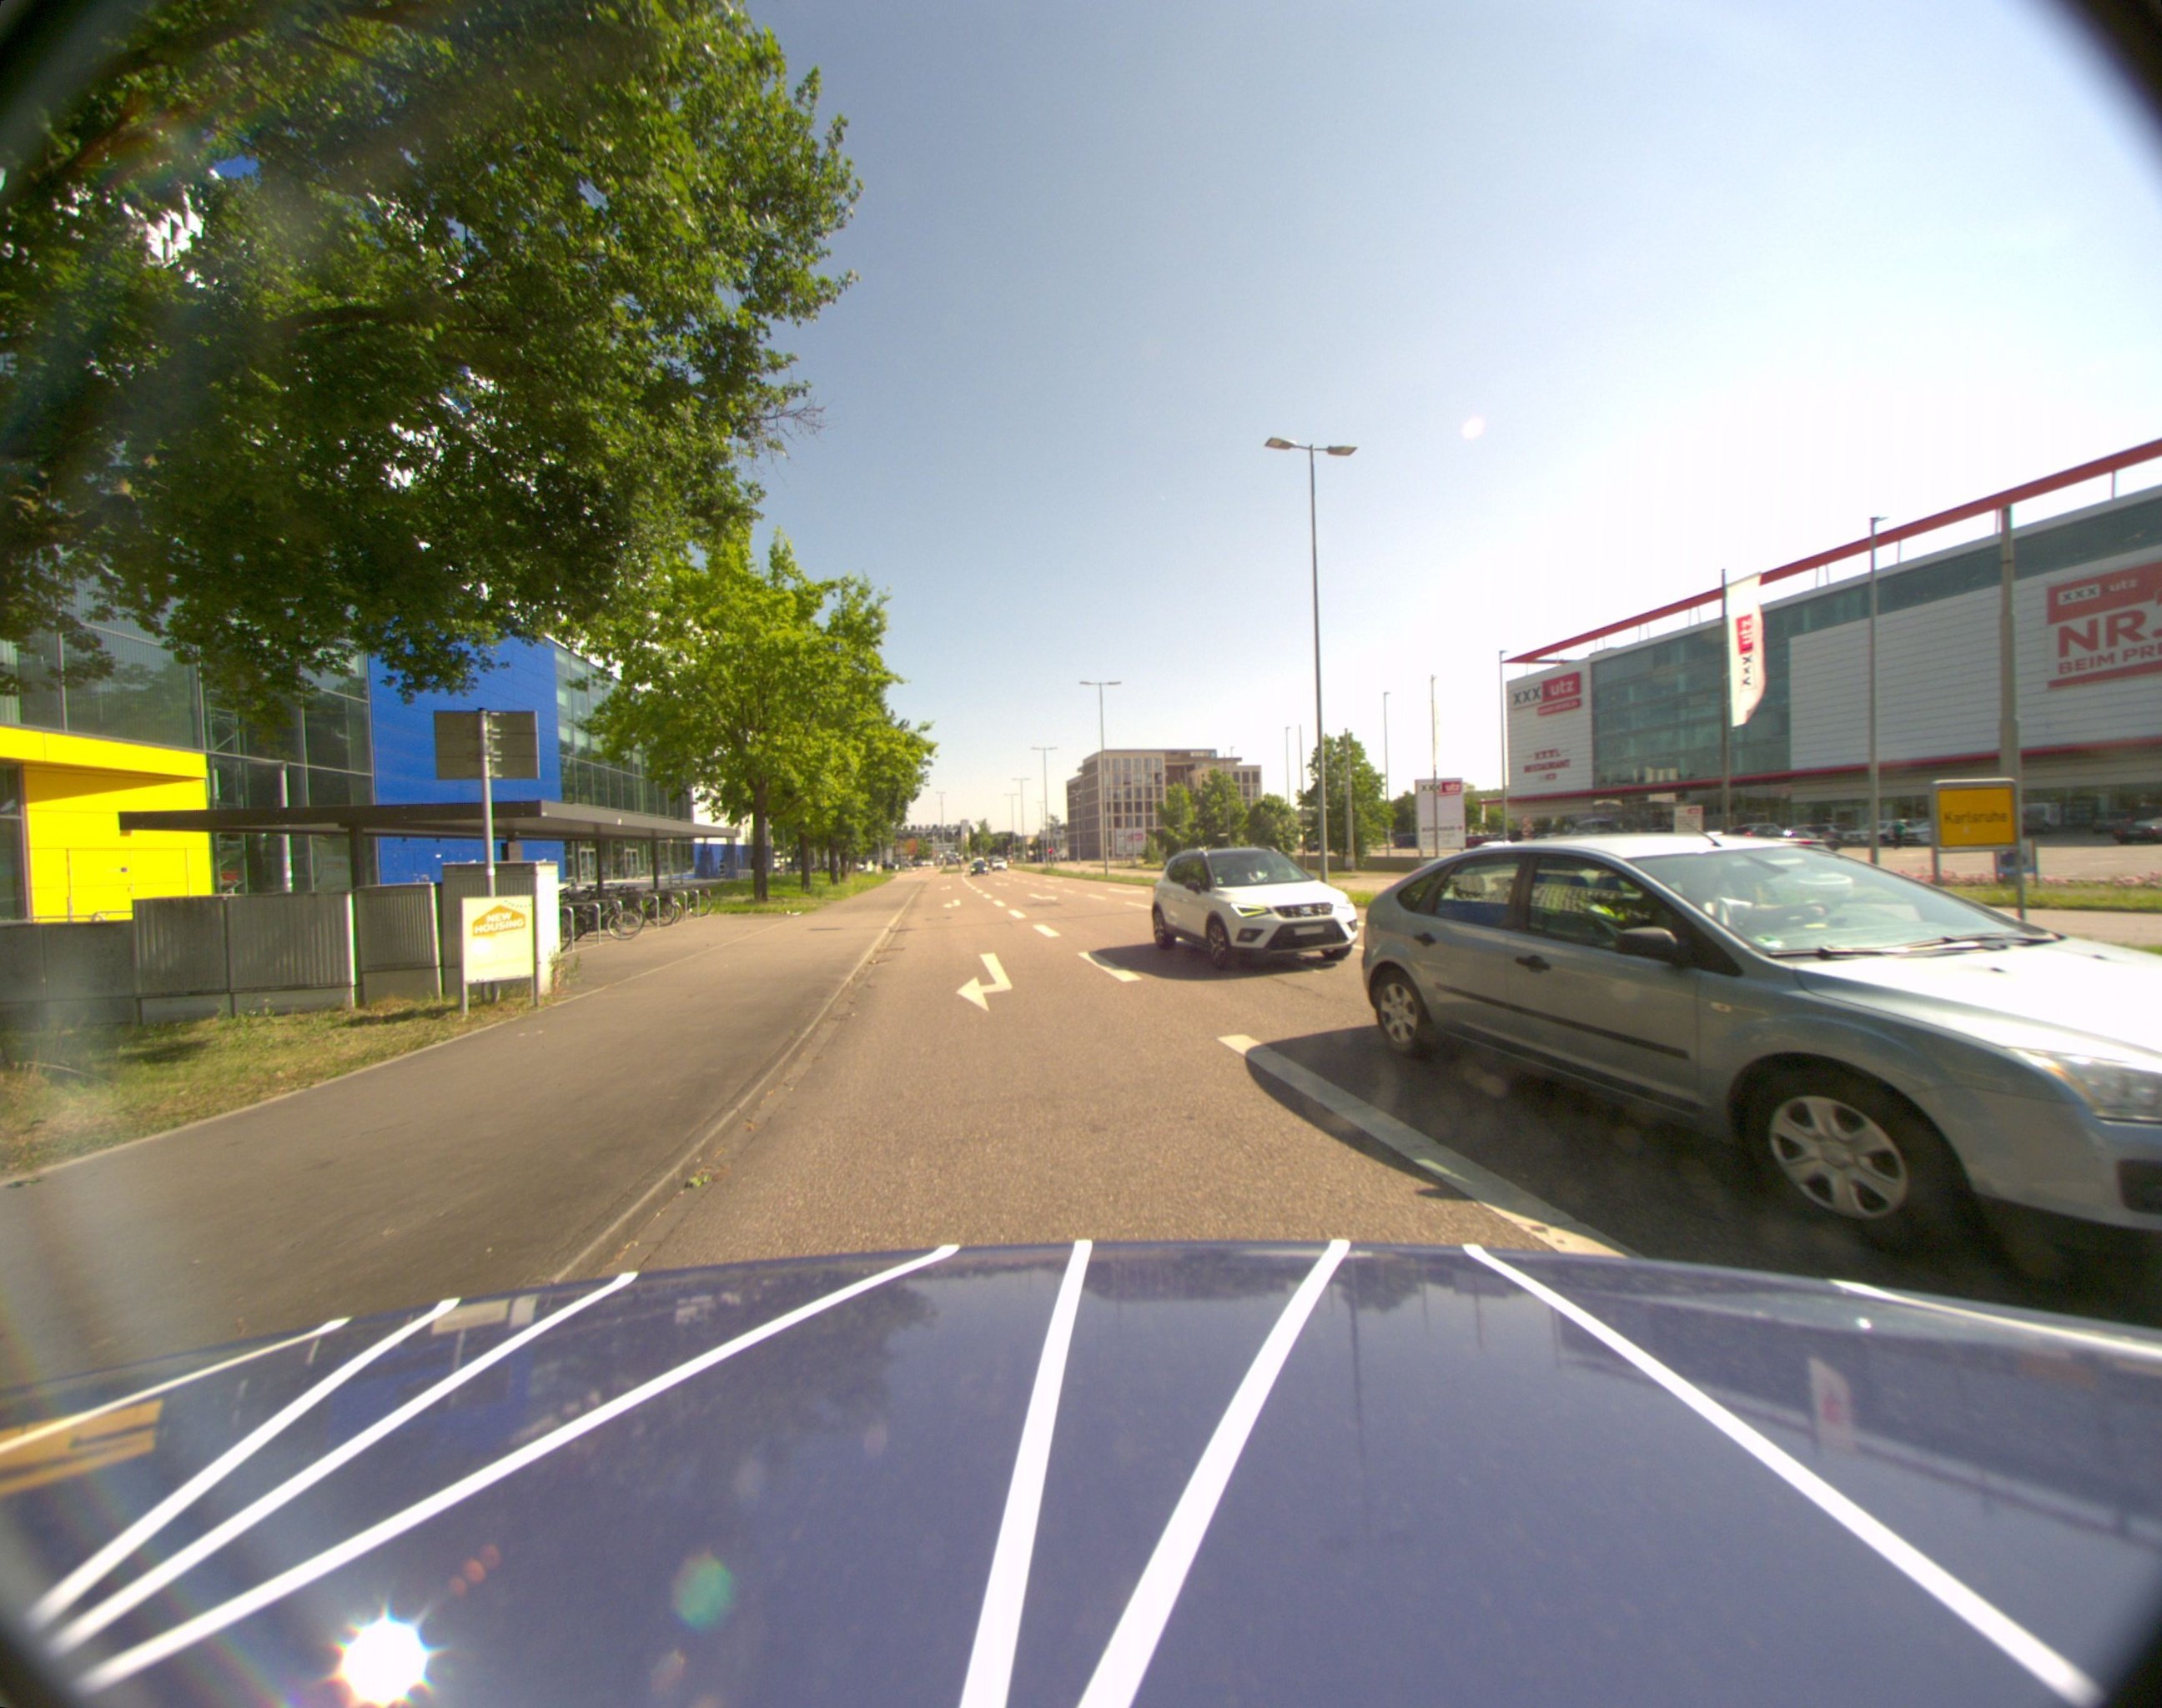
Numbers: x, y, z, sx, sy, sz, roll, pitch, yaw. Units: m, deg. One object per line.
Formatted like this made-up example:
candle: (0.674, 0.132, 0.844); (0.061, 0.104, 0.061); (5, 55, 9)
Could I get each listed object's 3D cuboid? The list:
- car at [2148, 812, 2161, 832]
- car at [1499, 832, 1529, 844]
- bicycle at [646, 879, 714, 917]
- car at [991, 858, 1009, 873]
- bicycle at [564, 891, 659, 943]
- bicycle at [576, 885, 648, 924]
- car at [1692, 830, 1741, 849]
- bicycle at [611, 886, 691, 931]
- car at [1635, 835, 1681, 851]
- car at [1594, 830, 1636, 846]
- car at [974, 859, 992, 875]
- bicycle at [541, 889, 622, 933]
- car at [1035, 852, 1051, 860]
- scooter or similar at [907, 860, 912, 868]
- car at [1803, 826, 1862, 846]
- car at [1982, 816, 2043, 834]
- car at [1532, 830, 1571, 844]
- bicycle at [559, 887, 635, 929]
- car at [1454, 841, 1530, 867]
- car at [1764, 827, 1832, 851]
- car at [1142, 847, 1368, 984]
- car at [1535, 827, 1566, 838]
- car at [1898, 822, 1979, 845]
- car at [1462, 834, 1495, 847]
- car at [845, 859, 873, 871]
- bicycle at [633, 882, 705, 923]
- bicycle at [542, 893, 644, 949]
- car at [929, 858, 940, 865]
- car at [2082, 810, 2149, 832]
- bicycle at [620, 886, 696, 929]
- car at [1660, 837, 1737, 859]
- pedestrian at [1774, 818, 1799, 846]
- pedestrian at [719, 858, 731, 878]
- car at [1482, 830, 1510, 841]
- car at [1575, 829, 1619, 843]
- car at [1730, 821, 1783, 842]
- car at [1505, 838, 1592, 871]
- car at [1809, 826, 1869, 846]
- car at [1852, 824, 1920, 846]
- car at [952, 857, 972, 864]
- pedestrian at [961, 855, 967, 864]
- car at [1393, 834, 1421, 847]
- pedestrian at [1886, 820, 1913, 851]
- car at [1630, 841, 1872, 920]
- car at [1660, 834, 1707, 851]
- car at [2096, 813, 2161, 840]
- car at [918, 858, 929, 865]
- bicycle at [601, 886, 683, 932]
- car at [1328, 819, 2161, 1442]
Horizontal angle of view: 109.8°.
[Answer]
car: (69.766, -2.092, 48.159); (3.098, 1.260, 1.364); (-2, 2, -12)
car: (51.730, -1.898, 90.843); (3.098, 1.322, 1.217); (-2, 2, -12)
bicycle: (-12.239, 1.340, 23.219); (1.764, 1.090, 0.452); (-2, 1, -10)
car: (-10.894, 1.573, 102.192); (2.027, 1.827, 4.307); (-2, 1, -10)
bicycle: (-10.723, 1.427, 17.388); (1.764, 1.089, 0.452); (-2, 0, -10)
bicycle: (-14.081, 1.513, 22.856); (1.764, 1.089, 0.452); (-2, 0, -10)
car: (47.063, -1.070, 56.268); (2.877, 1.322, 1.313); (-2, 2, -12)
bicycle: (-11.385, 1.441, 20.140); (1.764, 1.089, 0.452); (-2, 0, -10)
car: (50.514, -0.999, 66.525); (3.098, 1.286, 1.514); (-2, 2, -11)
car: (49.913, -1.477, 71.008); (3.098, 1.322, 1.514); (-2, 2, -12)
car: (-10.250, 1.313, 79.245); (1.772, 1.456, 4.234); (-4, 2, -9)
bicycle: (-13.597, 1.555, 20.722); (1.764, 1.089, 0.452); (-2, 0, -10)
car: (-10.482, 0.492, 208.918); (3.994, 2.002, 2.001); (-2, 1, 10)
scooter or similar: (-27.296, 1.611, 121.032); (0.402, 1.160, 1.184); (-2, 2, 7)
car: (53.097, -1.282, 53.688); (3.098, 1.322, 1.514); (-2, 2, -12)
car: (67.879, -2.100, 55.379); (3.098, 1.218, 1.514); (-2, 2, -12)
car: (48.866, -1.773, 78.901); (3.098, 1.322, 1.702); (-2, 2, -12)
bicycle: (-13.887, 1.537, 21.811); (1.764, 1.089, 0.452); (-2, 0, -10)
car: (28.222, -0.032, 52.186); (4.428, 1.618, 1.869); (-2, 1, -13)
car: (43.846, -0.942, 46.474); (3.098, 1.322, 1.514); (-2, 2, -12)
car: (2.198, 0.781, 10.754); (1.636, 1.489, 3.867); (-3, -2, -11)
car: (58.924, -2.684, 95.302); (3.098, 1.322, 1.514); (-2, 2, -12)
car: (55.082, -1.321, 48.818); (4.315, 1.322, 1.514); (-2, 2, -12)
car: (47.236, -1.603, 90.384); (3.225, 1.322, 1.514); (-2, 2, -12)
car: (-42.895, 2.145, 146.794); (5.001, 1.996, 1.738); (-2, 2, -12)
bicycle: (-12.056, 1.410, 22.254); (1.764, 1.089, 0.463); (-2, 0, -10)
bicycle: (-10.484, 1.419, 16.360); (1.764, 1.089, 0.452); (-2, 0, -10)
car: (-33.092, 1.666, 171.677); (1.888, 1.452, 3.997); (-2, 1, -5)
car: (69.685, -2.212, 51.191); (3.098, 1.322, 1.514); (-2, 2, -12)
bicycle: (-11.693, 1.474, 21.027); (1.764, 1.089, 0.452); (-2, 0, -10)
car: (41.993, -0.410, 51.685); (4.504, 1.322, 1.514); (-2, 2, -12)
pedestrian: (51.625, -1.607, 55.584); (0.863, 2.002, 1.022); (-1, 0, 4)
pedestrian: (-28.897, 1.157, 61.625); (0.690, 1.602, 0.770); (-1, 0, -14)
car: (51.162, -2.278, 93.730); (2.824, 1.322, 1.295); (-2, 2, -12)
car: (49.915, -1.728, 73.454); (3.511, 1.192, 1.479); (-2, 2, -12)
car: (57.723, -1.947, 64.953); (3.574, 1.620, 1.661); (-2, 0, -15)
car: (28.946, -0.006, 47.052); (4.428, 1.832, 1.943); (-2, 1, -11)
car: (53.313, -1.270, 53.466); (3.098, 1.322, 1.514); (-2, 2, -12)
car: (53.826, -1.256, 50.831); (3.416, 1.322, 1.587); (-2, 0, -12)
car: (-27.465, 1.454, 175.792); (4.482, 1.578, 1.978); (-2, 0, -9)
pedestrian: (-21.581, 1.006, 139.656); (0.705, 1.769, 0.960); (-1, 1, 14)
car: (43.988, -1.824, 102.593); (3.098, 1.748, 1.690); (-3, 2, -12)
pedestrian: (49.602, -1.138, 46.065); (0.856, 1.847, 0.751); (-2, 0, -11)
car: (15.376, 0.533, 17.785); (1.799, 1.538, 4.084); (-3, 1, -6)
car: (51.181, -1.012, 64.540); (3.098, 1.322, 1.514); (-2, 2, -12)
car: (55.496, -1.443, 39.865); (3.098, 1.322, 1.514); (-2, 2, -12)
car: (-35.475, 1.786, 171.066); (1.999, 1.452, 3.998); (-2, 0, -5)
bicycle: (-11.325, 1.401, 19.634); (1.764, 1.089, 0.452); (-2, 0, -10)
car: (3.211, 0.713, 3.976); (1.712, 1.564, 4.170); (-4, 0, -12)
